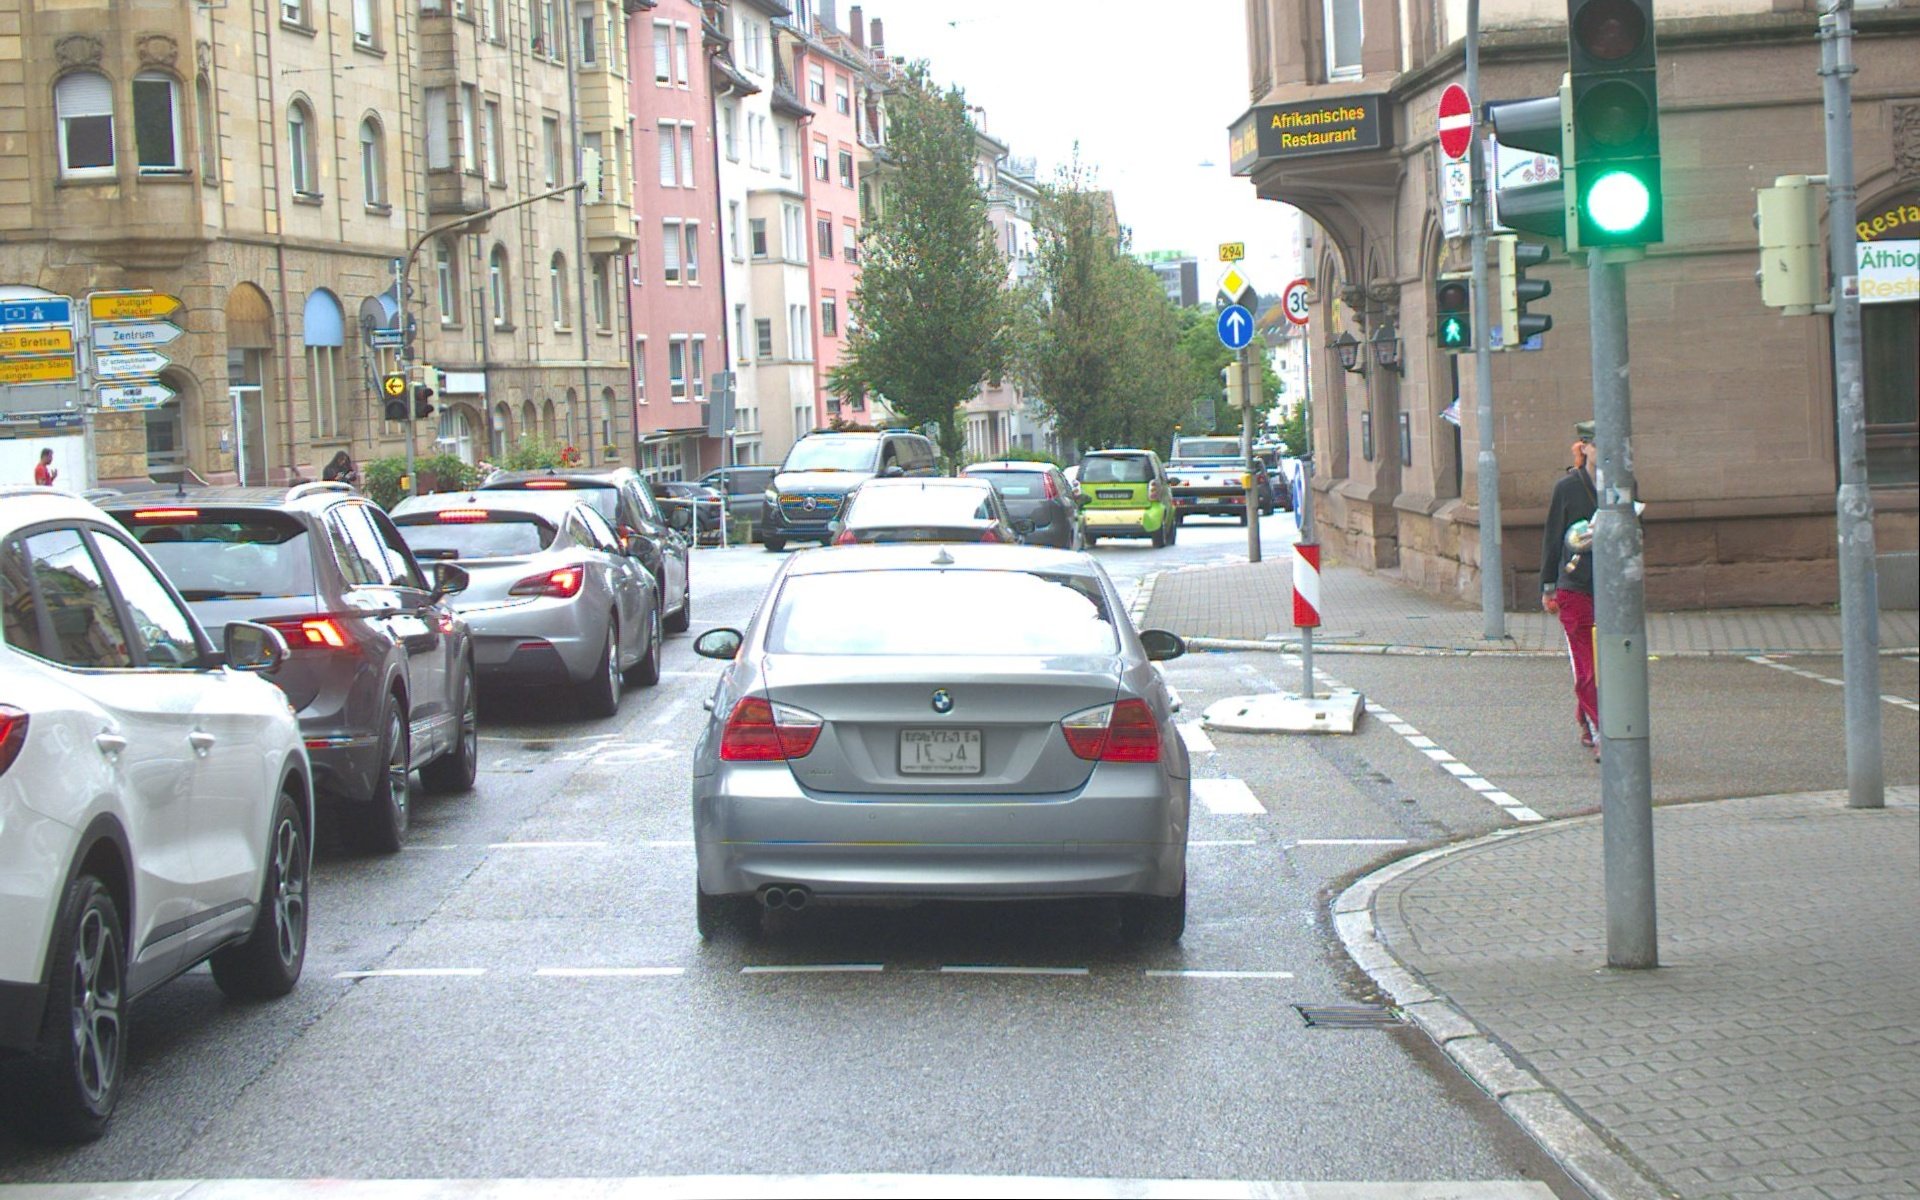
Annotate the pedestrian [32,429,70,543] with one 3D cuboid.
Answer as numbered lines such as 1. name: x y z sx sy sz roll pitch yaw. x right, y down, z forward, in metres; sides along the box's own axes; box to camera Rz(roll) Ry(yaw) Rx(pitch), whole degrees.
1. pedestrian: -14.245 -1.783 53.872 0.522 1.768 0.694 -1 2 -16

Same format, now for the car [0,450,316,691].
1. car: -6.562 -0.255 26.986 1.714 1.491 3.682 -10 3 7

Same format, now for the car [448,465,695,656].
1. car: -3.340 -0.373 30.246 1.752 1.529 4.215 -1 1 -1

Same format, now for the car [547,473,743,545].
1. car: -7.239 -2.109 79.167 4.148 1.505 1.873 -2 2 8

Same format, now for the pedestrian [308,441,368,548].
1. pedestrian: -9.997 -1.694 55.236 0.826 1.696 0.639 -1 2 -21

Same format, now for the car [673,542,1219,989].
1. car: -0.084 0.509 13.057 1.769 1.423 3.741 0 1 -1

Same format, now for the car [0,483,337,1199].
1. car: -3.016 0.524 9.774 1.752 1.639 4.379 -1 1 -1

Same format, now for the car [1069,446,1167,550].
1. car: 2.526 -1.607 54.457 1.449 1.560 3.333 -1 1 4

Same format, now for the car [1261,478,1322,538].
1. car: 10.431 -2.872 107.978 1.778 1.792 3.999 0 1 7

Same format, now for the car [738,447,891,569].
1. car: -2.405 -1.483 55.908 1.742 1.840 4.148 -3 2 -12

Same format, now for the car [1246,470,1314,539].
1. car: 9.246 -2.736 99.196 1.813 1.897 3.999 0 1 7

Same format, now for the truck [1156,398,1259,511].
1. truck: 5.536 -3.188 76.443 2.032 2.404 4.826 -1 1 7

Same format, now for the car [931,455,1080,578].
1. car: 0.623 -1.068 44.041 1.697 1.478 3.793 -1 1 4

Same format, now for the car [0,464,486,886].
1. car: -3.404 0.232 16.400 1.752 1.638 4.213 -1 4 -1

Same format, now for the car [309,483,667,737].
1. car: -3.090 -0.005 23.305 1.752 1.478 4.181 -2 2 1

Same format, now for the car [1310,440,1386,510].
1. car: 10.121 -3.241 89.430 1.879 1.725 4.676 -1 2 7

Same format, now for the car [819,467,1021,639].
1. car: -0.320 -0.444 30.911 1.682 1.423 3.741 -1 1 1

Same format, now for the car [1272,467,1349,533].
1. car: 8.593 -2.453 84.104 1.799 1.559 4.492 -1 2 6

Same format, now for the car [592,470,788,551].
1. car: -6.591 -2.206 84.221 4.674 1.932 1.864 -1 2 -2

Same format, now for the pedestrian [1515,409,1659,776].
1. pedestrian: 3.422 -0.064 18.819 0.698 1.942 1.090 0 3 7
